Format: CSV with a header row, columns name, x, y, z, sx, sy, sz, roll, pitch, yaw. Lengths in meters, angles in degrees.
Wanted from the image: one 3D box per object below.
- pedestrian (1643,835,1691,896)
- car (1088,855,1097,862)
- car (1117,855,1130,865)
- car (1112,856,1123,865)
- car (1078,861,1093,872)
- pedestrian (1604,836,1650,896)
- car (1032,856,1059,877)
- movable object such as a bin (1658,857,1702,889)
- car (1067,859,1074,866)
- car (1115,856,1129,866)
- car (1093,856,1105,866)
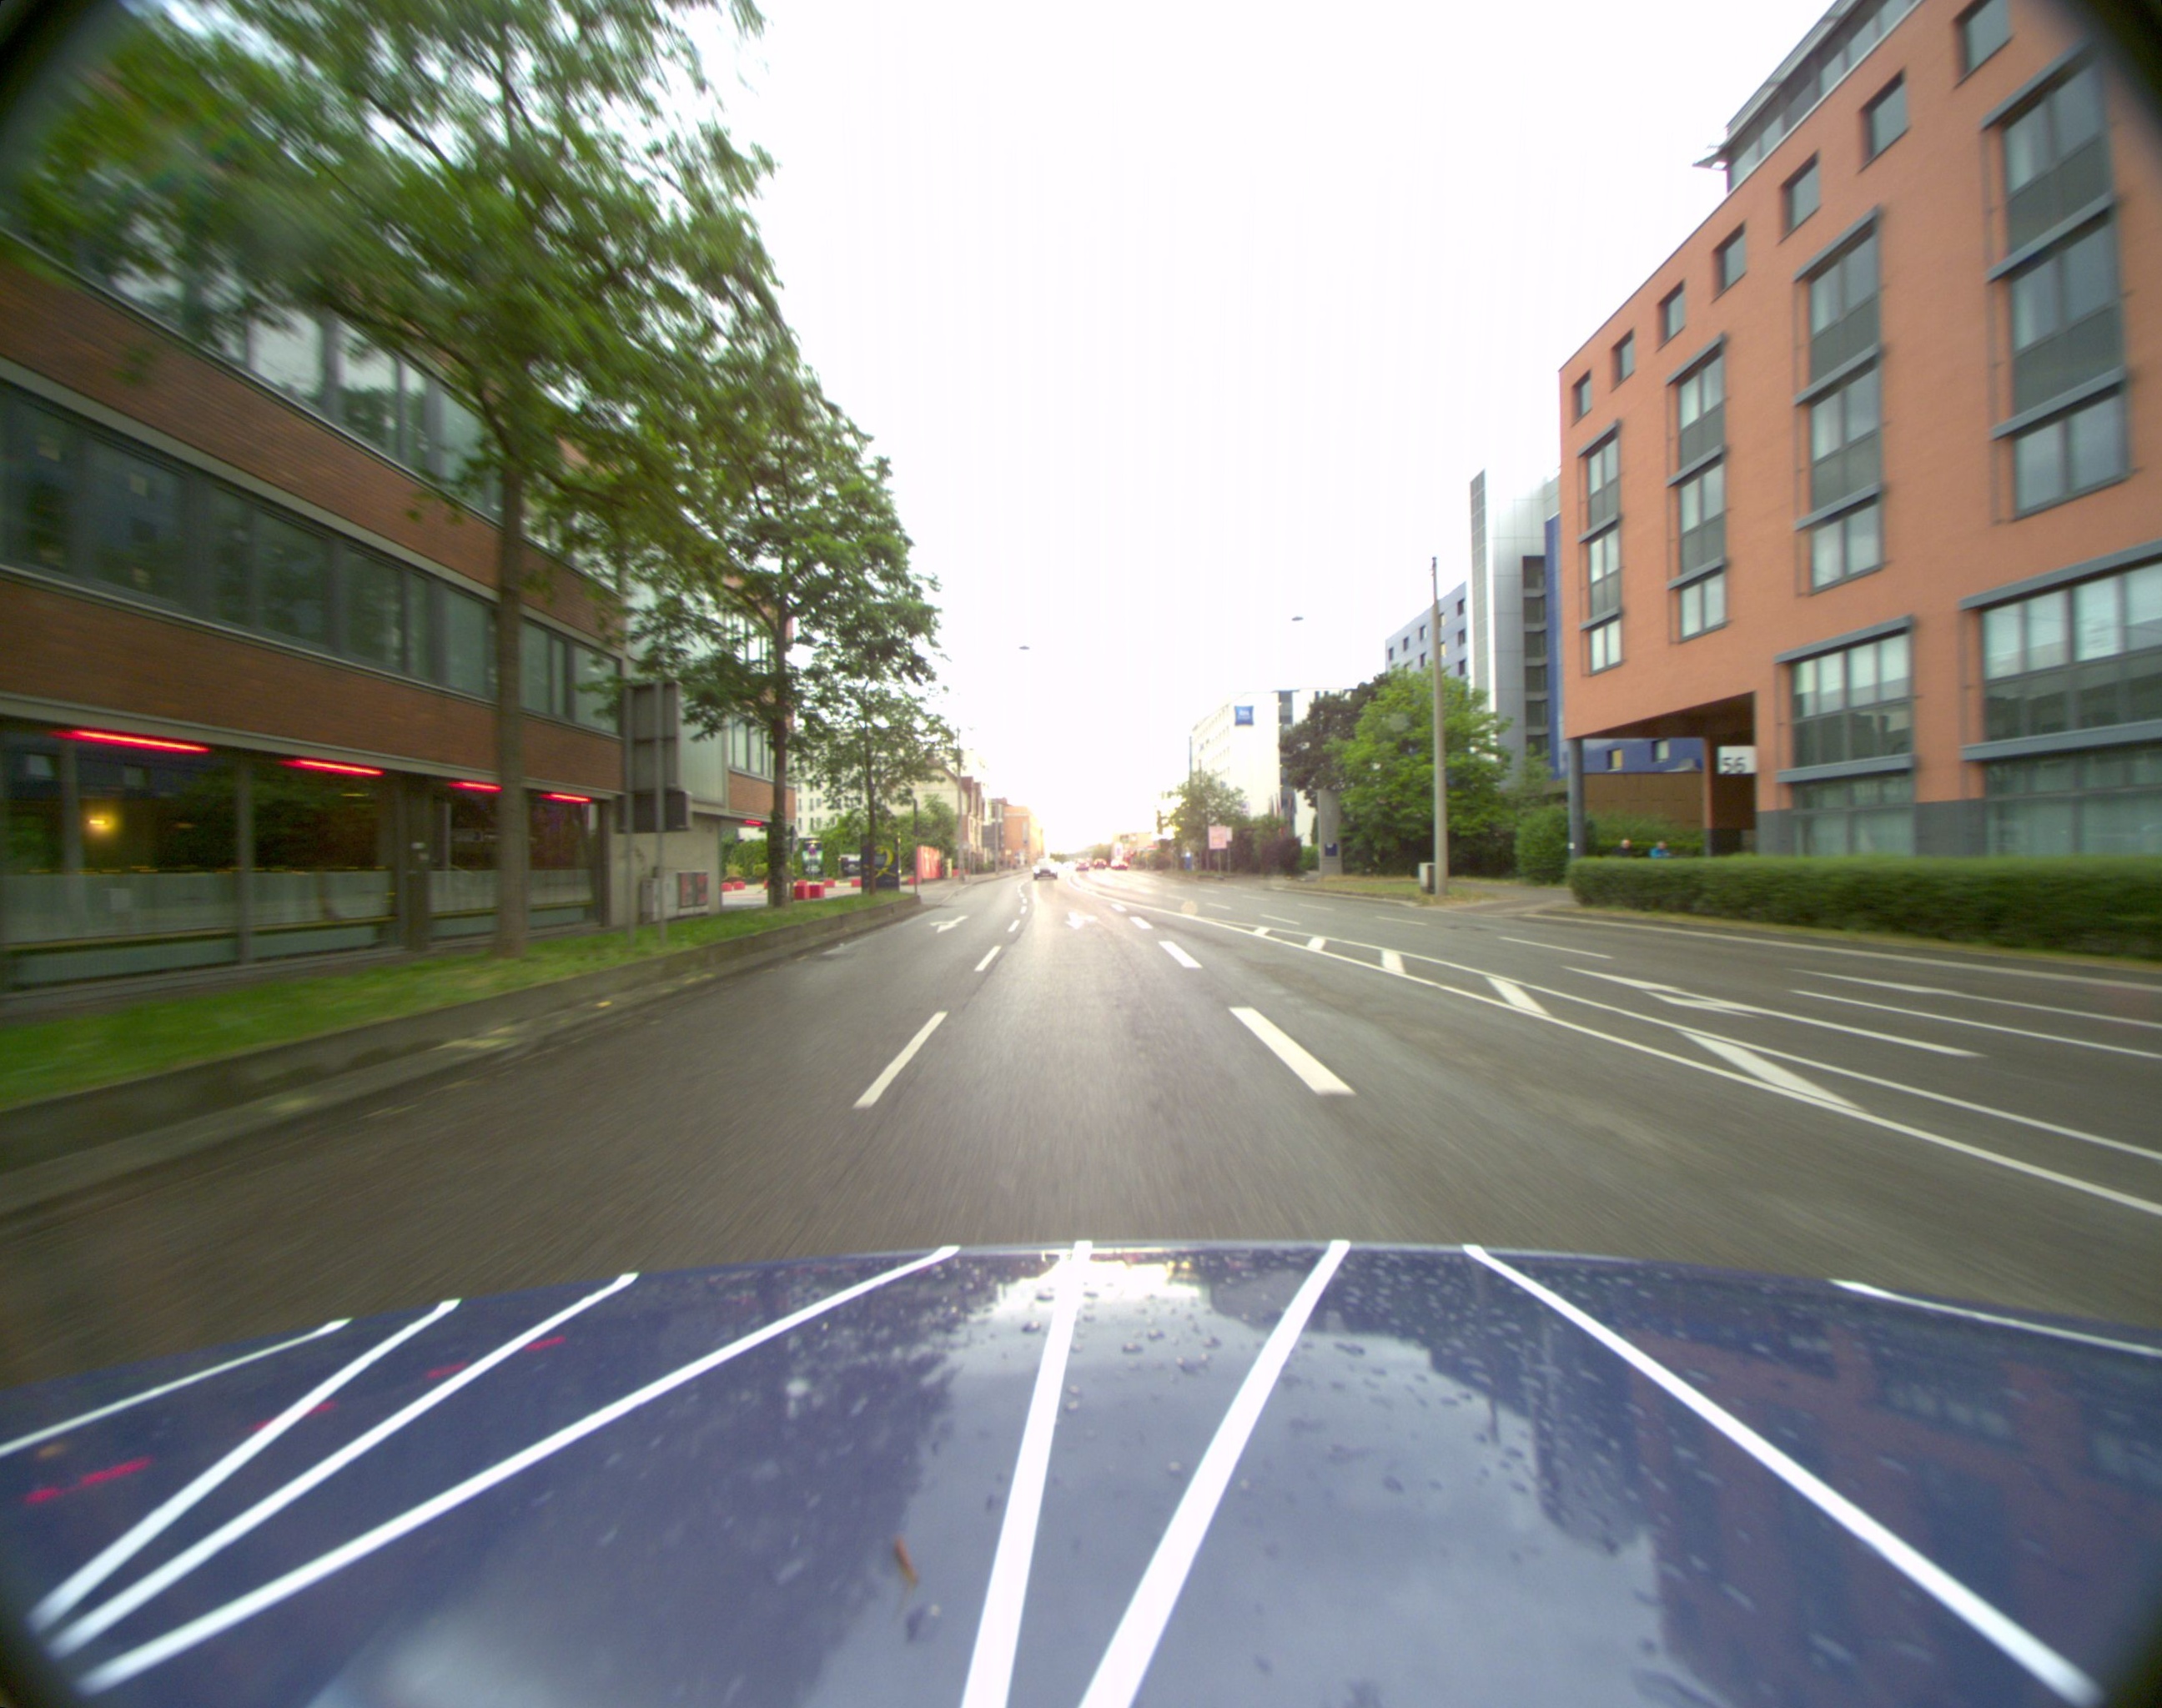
name,x,y,z,sx,sy,sz,roll,pitch,yaw
pedestrian,18.433,0.355,23.918,0.747,1.830,0.885,-2,0,-1
car,2.523,1.050,174.236,1.998,1.543,4.000,-1,0,0
car,7.137,1.001,128.624,1.767,1.559,3.999,1,0,-2
car,6.664,1.105,138.537,1.767,1.559,3.999,1,0,-2
car,0.597,1.722,106.774,1.998,1.543,4.000,-1,0,0
pedestrian,17.209,0.385,23.973,0.747,1.830,0.885,-2,0,-1
car,-2.959,1.020,64.519,1.999,1.656,5.424,-3,0,-1
movable object such as a bin,23.886,0.740,30.318,0.782,1.241,1.209,-1,0,-4
car,-2.558,2.104,187.952,1.799,1.501,4.000,0,-1,0
car,6.442,1.057,120.456,1.767,1.559,3.999,1,0,-3
car,3.070,1.214,130.778,1.998,1.543,4.000,-1,0,0
